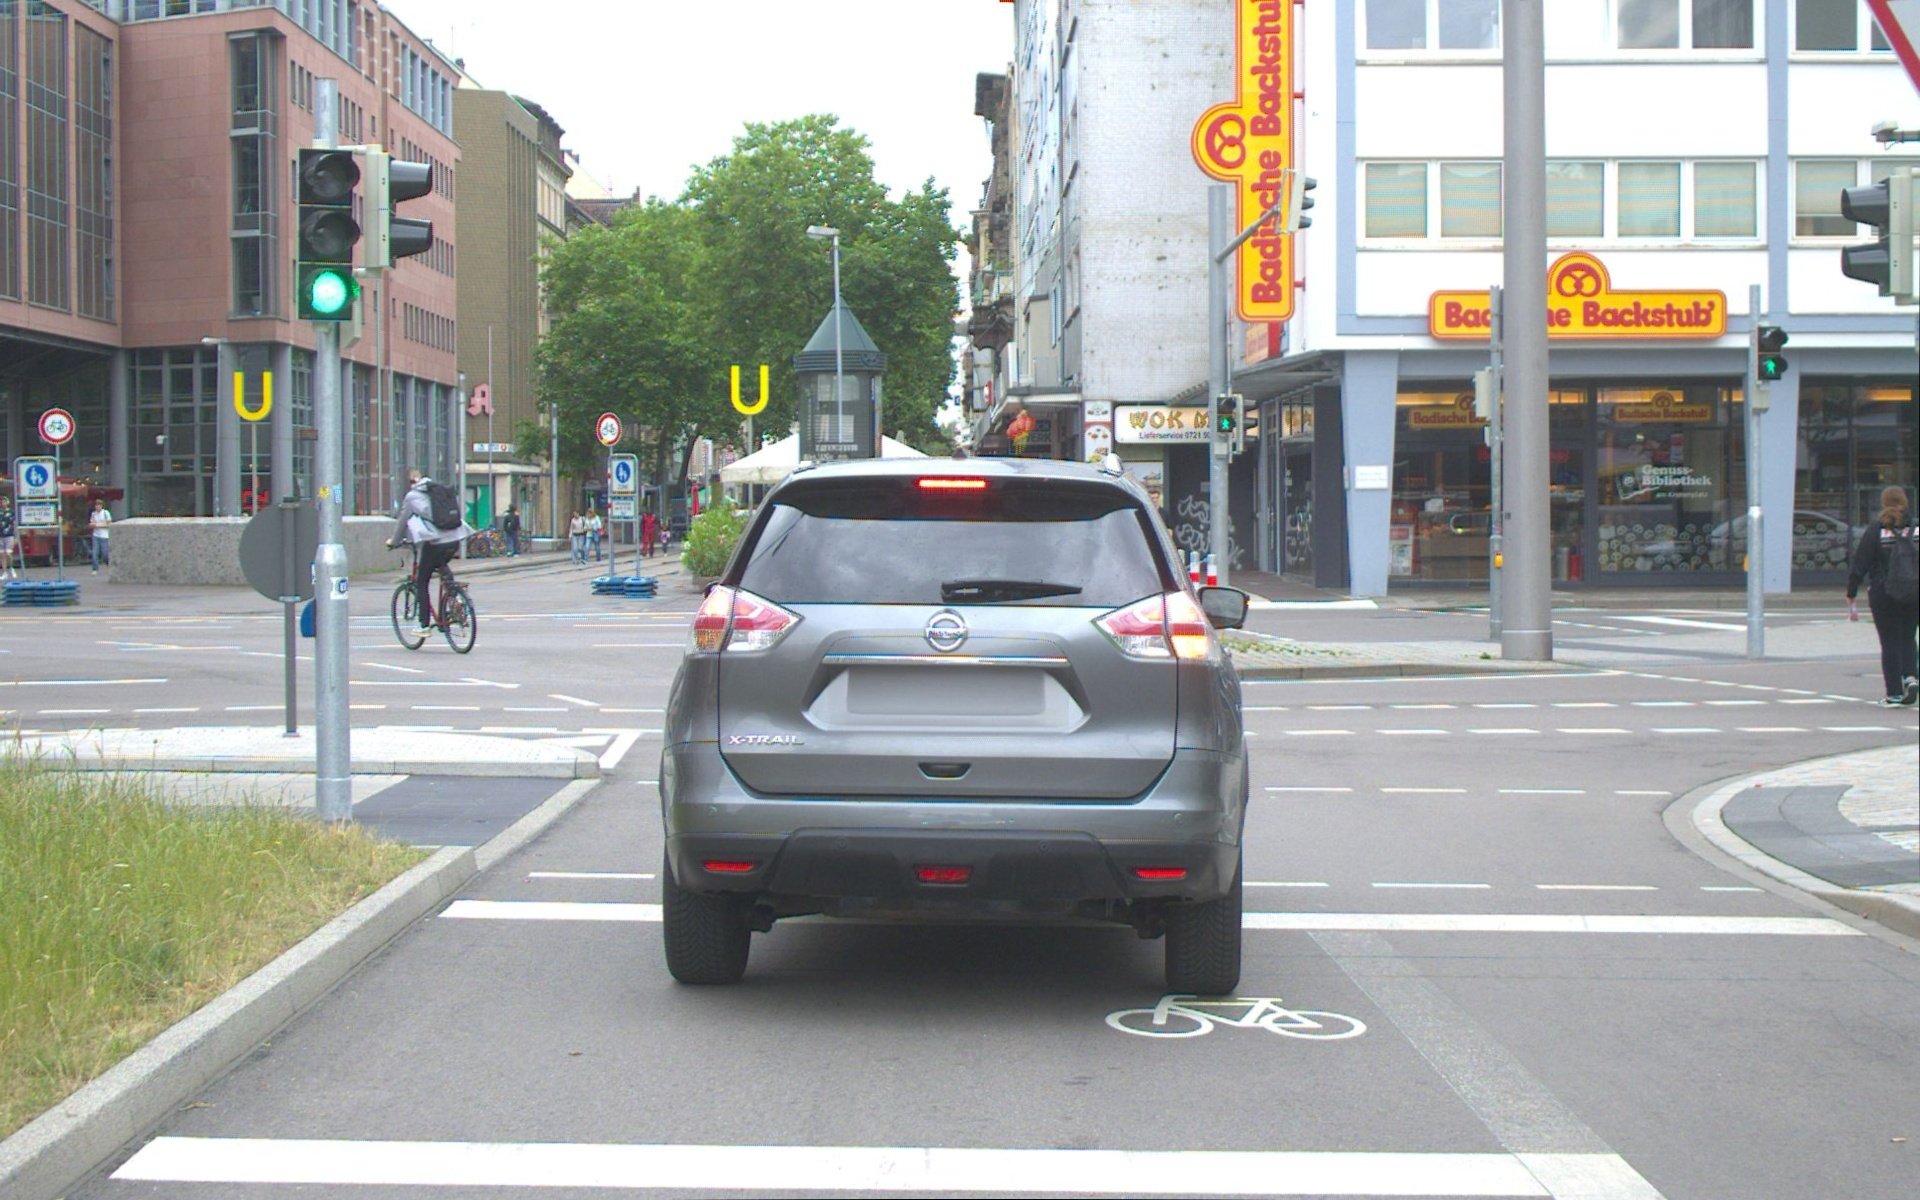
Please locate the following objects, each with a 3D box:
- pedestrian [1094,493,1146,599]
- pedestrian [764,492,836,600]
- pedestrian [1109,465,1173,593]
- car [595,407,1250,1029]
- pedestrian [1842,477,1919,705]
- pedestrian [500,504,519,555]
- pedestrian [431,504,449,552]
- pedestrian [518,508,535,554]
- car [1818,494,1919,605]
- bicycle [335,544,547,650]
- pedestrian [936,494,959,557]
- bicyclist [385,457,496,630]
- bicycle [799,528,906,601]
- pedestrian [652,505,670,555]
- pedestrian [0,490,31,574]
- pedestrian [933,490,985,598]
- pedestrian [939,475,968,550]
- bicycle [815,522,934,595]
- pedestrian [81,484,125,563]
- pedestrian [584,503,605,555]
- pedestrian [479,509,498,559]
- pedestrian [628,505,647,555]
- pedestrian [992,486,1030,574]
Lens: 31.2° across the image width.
[{"bbox_3d":[2.580,-0.876,55.446,0.710,1.699,0.734,1,2,12],"label":"pedestrian"},{"bbox_3d":[-2.567,-0.873,55.147,0.927,1.699,0.734,1,2,19],"label":"pedestrian"},{"bbox_3d":[2.619,-1.032,49.778,0.712,1.826,1.017,1,2,-8],"label":"pedestrian"},{"bbox_3d":[-0.101,0.309,12.157,1.863,1.769,4.567,-1,1,0],"label":"car"},{"bbox_3d":[7.370,-0.076,26.921,0.621,1.755,0.780,1,2,-8],"label":"pedestrian"},{"bbox_3d":[-15.009,-2.348,114.555,0.600,1.708,0.656,1,2,-7],"label":"pedestrian"},{"bbox_3d":[-18.874,-2.618,124.788,0.600,1.708,0.656,1,2,-7],"label":"pedestrian"},{"bbox_3d":[-16.092,-2.554,127.548,0.600,1.708,0.656,1,2,-7],"label":"pedestrian"},{"bbox_3d":[14.323,-0.736,47.328,4.551,1.476,1.749,-1,1,-2],"label":"car"},{"bbox_3d":[-5.549,-0.060,36.510,0.902,1.041,3.277,-1,2,-34],"label":"bicycle"},{"bbox_3d":[-0.339,-2.035,93.425,0.611,1.699,0.619,1,1,1],"label":"pedestrian"},{"bbox_3d":[-5.511,-0.605,36.449,0.834,1.806,0.877,0,2,-35],"label":"bicyclist"},{"bbox_3d":[-1.772,-0.585,56.650,1.695,1.167,0.437,0,2,-14],"label":"bicycle"},{"bbox_3d":[-10.330,-2.420,118.761,0.600,1.708,0.656,1,2,-7],"label":"pedestrian"},{"bbox_3d":[-20.931,-1.491,75.598,0.732,1.835,0.702,0,2,-40],"label":"pedestrian"},{"bbox_3d":[-0.020,-0.913,55.809,0.732,1.739,0.663,1,2,-8],"label":"pedestrian"},{"bbox_3d":[-0.142,-2.003,78.886,0.643,1.699,0.559,1,1,1],"label":"pedestrian"},{"bbox_3d":[-1.398,-0.685,56.206,1.866,1.167,0.531,0,2,-14],"label":"bicycle"},{"bbox_3d":[-20.067,-1.786,80.524,0.701,1.835,0.734,1,2,19],"label":"pedestrian"},{"bbox_3d":[-10.829,-2.107,101.806,0.600,1.531,0.656,1,2,-7],"label":"pedestrian"},{"bbox_3d":[-16.069,-2.253,117.173,0.600,1.708,0.656,1,2,-7],"label":"pedestrian"},{"bbox_3d":[-11.131,-2.409,118.614,0.600,1.708,0.656,1,2,-7],"label":"pedestrian"},{"bbox_3d":[1.063,-1.459,71.719,0.737,1.815,0.662,0,1,-2],"label":"pedestrian"}]
